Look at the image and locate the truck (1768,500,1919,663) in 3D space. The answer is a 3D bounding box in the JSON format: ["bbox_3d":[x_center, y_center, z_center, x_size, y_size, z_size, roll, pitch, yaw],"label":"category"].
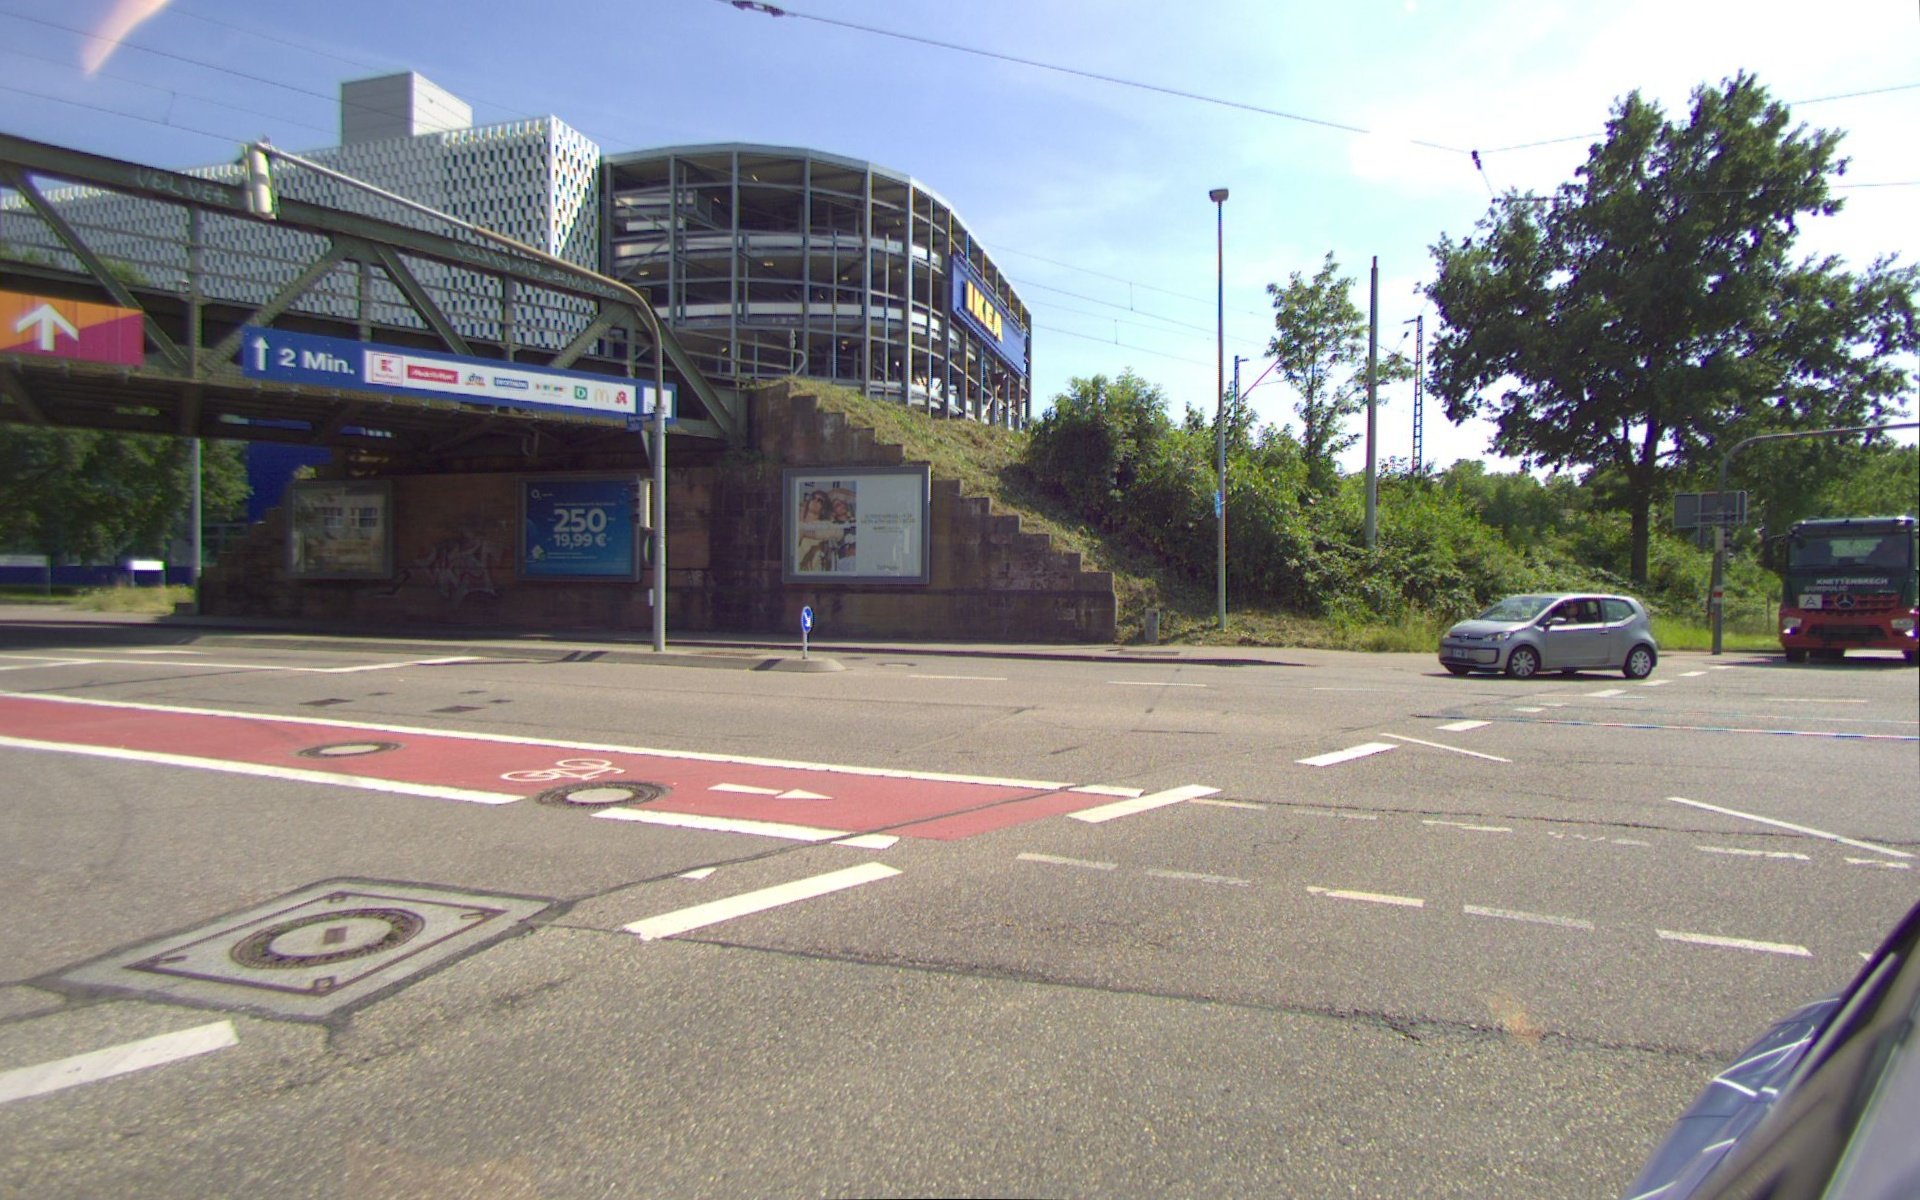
[{"bbox_3d":[21.439,-0.418,23.737,7.355,3.308,2.773,0,1,-42],"label":"truck"}]

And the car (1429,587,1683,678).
[{"bbox_3d":[10.259,0.516,17.507,3.601,1.455,1.710,0,1,-13],"label":"car"}]
